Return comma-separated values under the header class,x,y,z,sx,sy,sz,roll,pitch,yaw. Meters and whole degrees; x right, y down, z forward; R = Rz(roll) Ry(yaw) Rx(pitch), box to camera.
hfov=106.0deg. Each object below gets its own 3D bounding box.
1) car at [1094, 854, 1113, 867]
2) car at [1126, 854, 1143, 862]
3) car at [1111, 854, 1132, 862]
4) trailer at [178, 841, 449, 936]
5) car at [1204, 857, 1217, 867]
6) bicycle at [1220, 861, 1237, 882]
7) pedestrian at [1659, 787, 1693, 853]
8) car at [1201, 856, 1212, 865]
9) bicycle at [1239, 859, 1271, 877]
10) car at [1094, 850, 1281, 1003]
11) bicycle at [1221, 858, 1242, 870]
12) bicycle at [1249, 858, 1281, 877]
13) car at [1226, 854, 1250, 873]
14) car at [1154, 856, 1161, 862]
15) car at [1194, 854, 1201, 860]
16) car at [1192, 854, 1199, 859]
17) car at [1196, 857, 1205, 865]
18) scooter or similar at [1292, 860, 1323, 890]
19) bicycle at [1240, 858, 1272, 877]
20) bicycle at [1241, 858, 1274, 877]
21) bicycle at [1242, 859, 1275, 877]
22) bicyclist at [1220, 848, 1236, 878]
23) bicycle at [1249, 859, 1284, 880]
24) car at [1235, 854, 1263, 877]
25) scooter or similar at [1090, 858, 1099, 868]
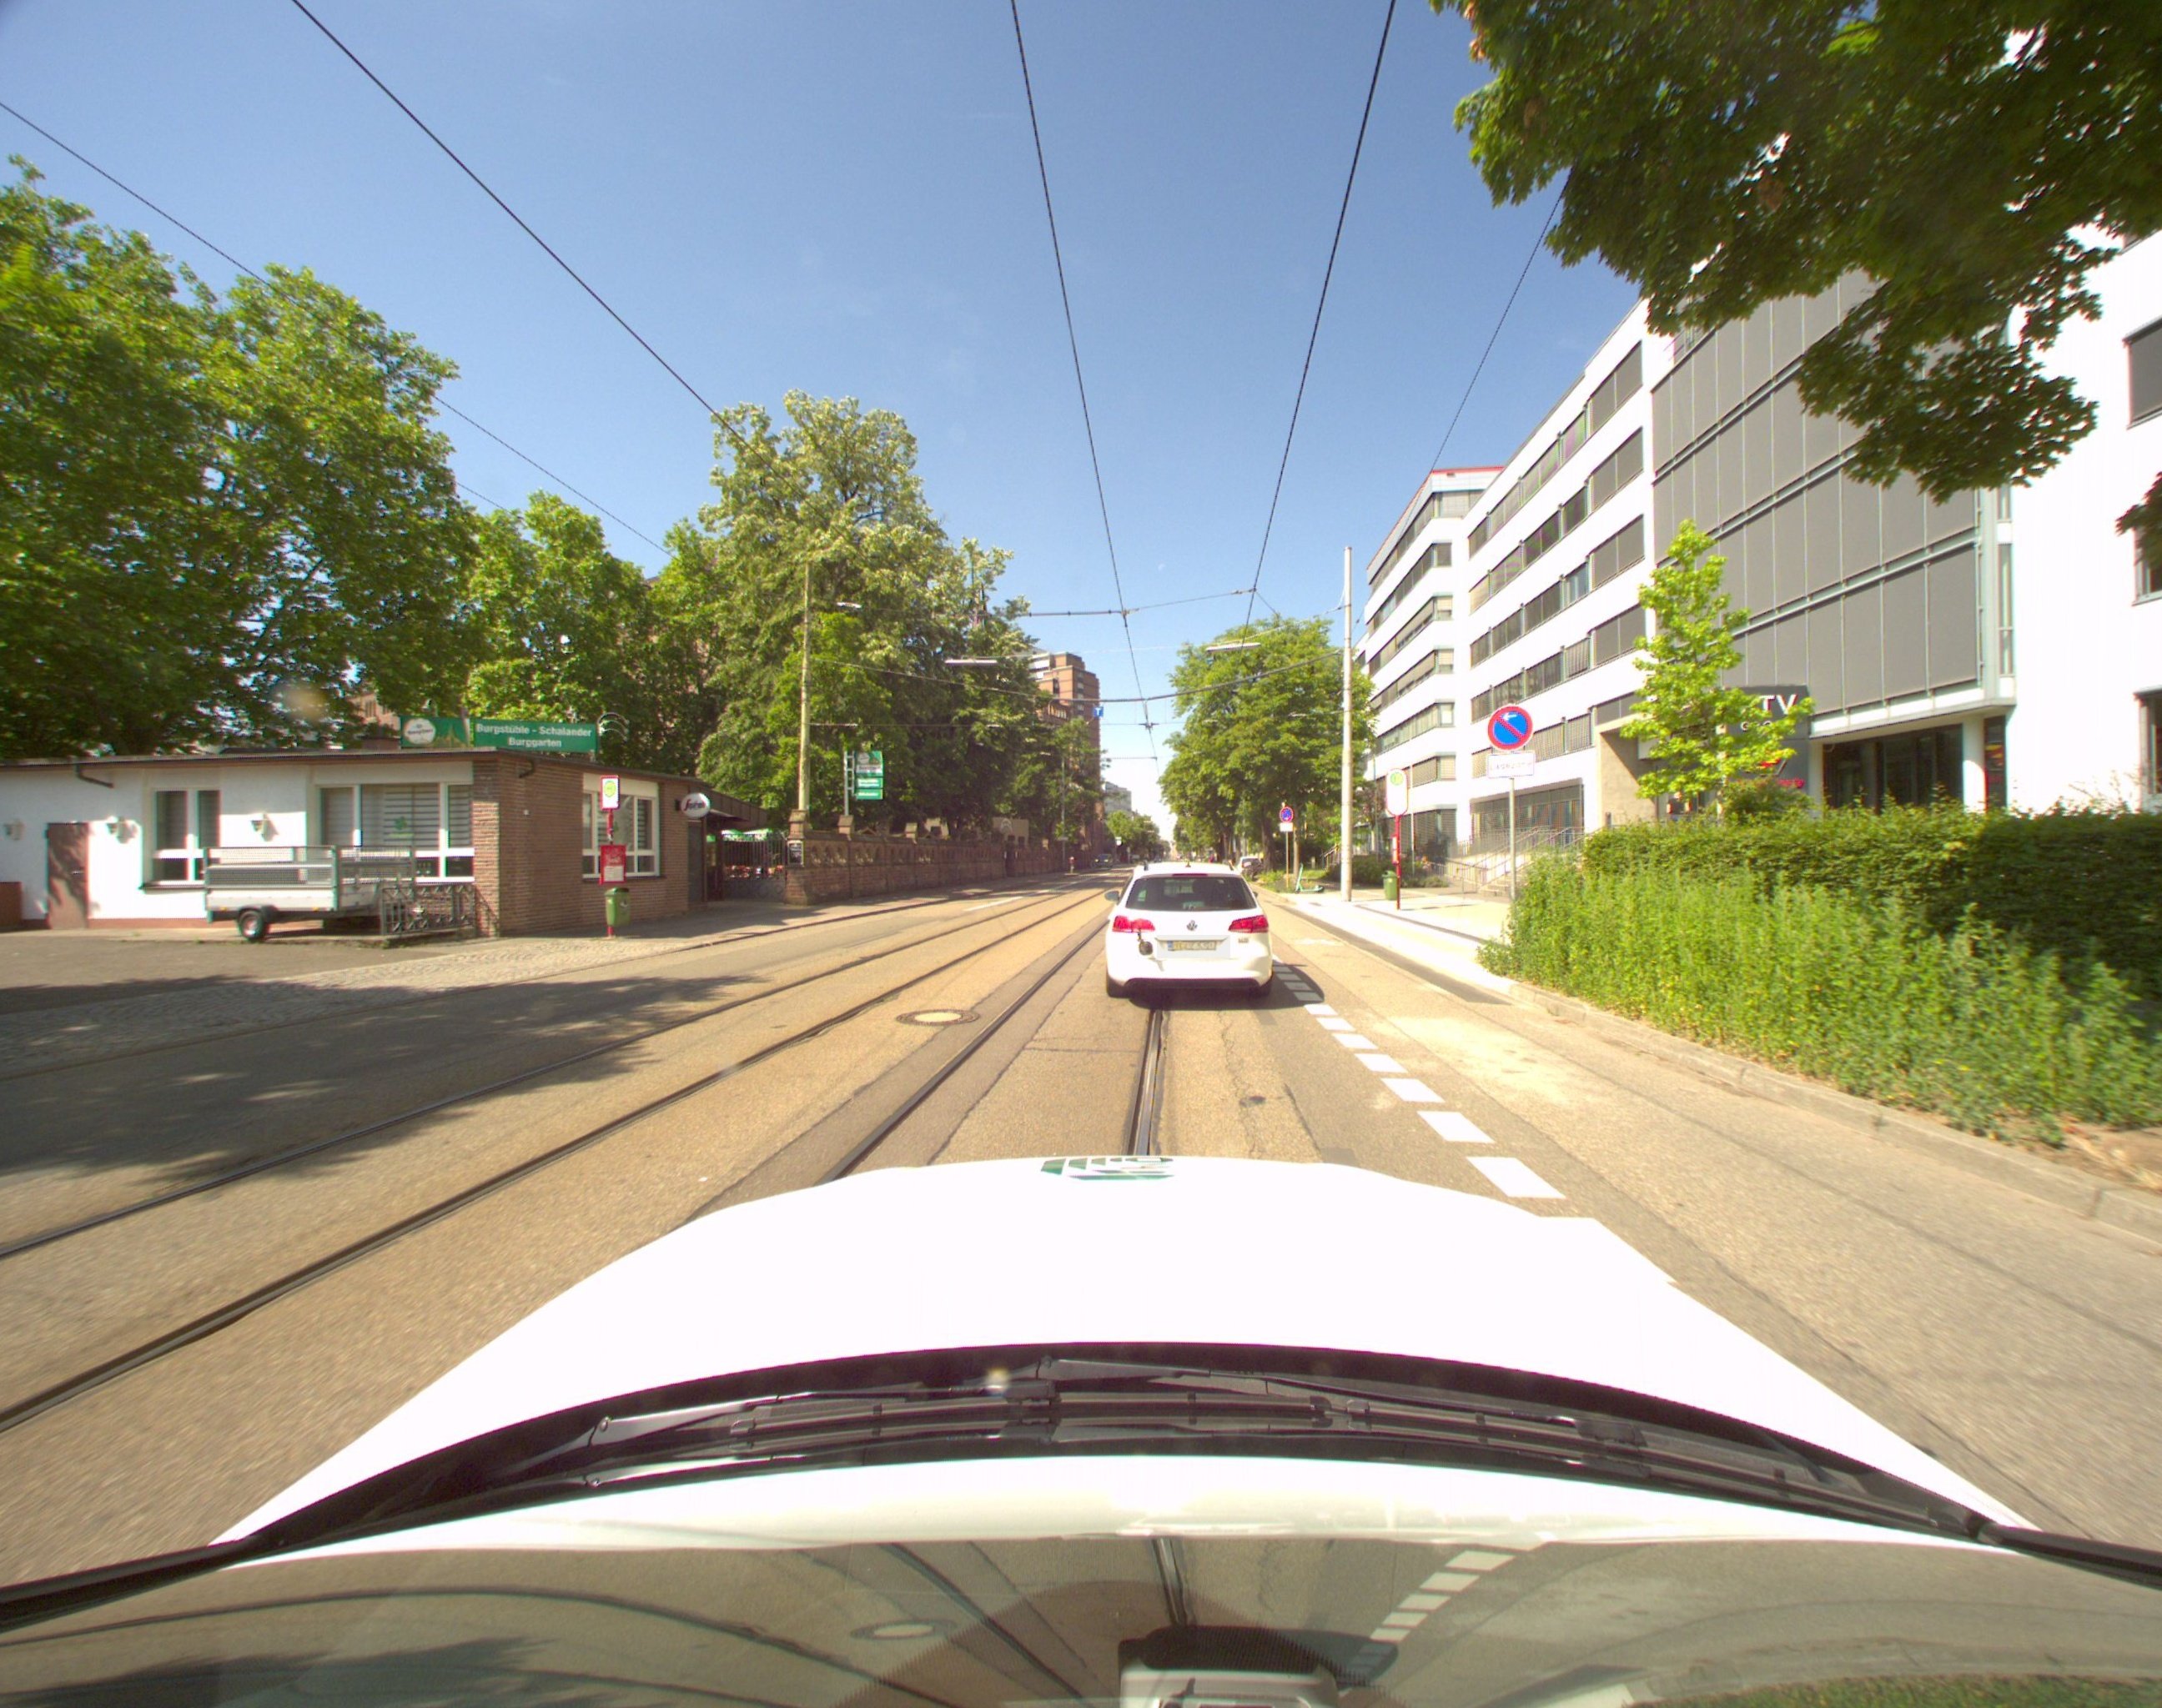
class,x,y,z,sx,sy,sz,roll,pitch,yaw
car,3.235,0.906,116.324,1.982,1.757,4.724,-1,0,9
car,13.616,1.055,208.220,4.011,1.816,1.981,-1,0,-29
car,8.690,0.822,175.292,4.124,1.530,1.923,1,0,-15
trailer,-13.196,0.556,14.120,3.197,1.525,1.782,0,0,8
car,18.467,1.129,116.241,1.703,1.401,3.852,-1,0,9
bicycle,7.888,0.932,43.579,0.806,1.078,2.016,0,0,7
pedestrian,15.723,-0.891,21.528,0.496,1.728,0.548,0,0,6
car,21.187,1.141,137.368,1.704,1.401,3.851,-1,0,8
bicycle,10.992,0.854,51.438,1.877,1.083,0.551,1,0,4
car,1.255,0.711,10.019,1.745,1.442,4.420,-1,0,6
bicycle,13.592,0.887,73.575,1.780,1.010,0.488,-1,0,2
bicycle,10.894,0.812,48.323,1.766,1.120,0.597,-1,0,4
car,12.901,0.773,67.287,1.655,1.444,4.643,-1,0,7
car,17.143,1.115,182.493,1.485,1.384,3.650,-1,0,8
car,28.611,0.768,200.393,1.704,1.401,3.851,-1,0,8
car,31.042,0.757,220.769,1.704,1.401,3.851,-1,0,8
car,22.819,1.389,155.436,1.704,1.401,3.851,-1,0,8
scooter or similar,8.806,0.823,31.727,1.135,1.154,0.495,0,0,12
bicycle,10.900,0.839,50.801,1.903,1.083,0.551,2,0,4
bicycle,10.848,0.832,50.189,1.903,1.083,0.551,2,0,4
bicycle,10.817,0.837,49.589,1.903,1.083,0.551,1,0,4
bicyclist,7.932,0.476,43.855,0.781,1.629,0.739,-1,0,7
bicycle,10.164,0.833,44.625,1.766,1.083,0.597,-1,0,4
car,11.411,0.745,55.392,1.582,1.451,3.954,-1,0,7
scooter or similar,1.702,1.110,100.839,0.400,1.155,1.150,-1,-1,41
